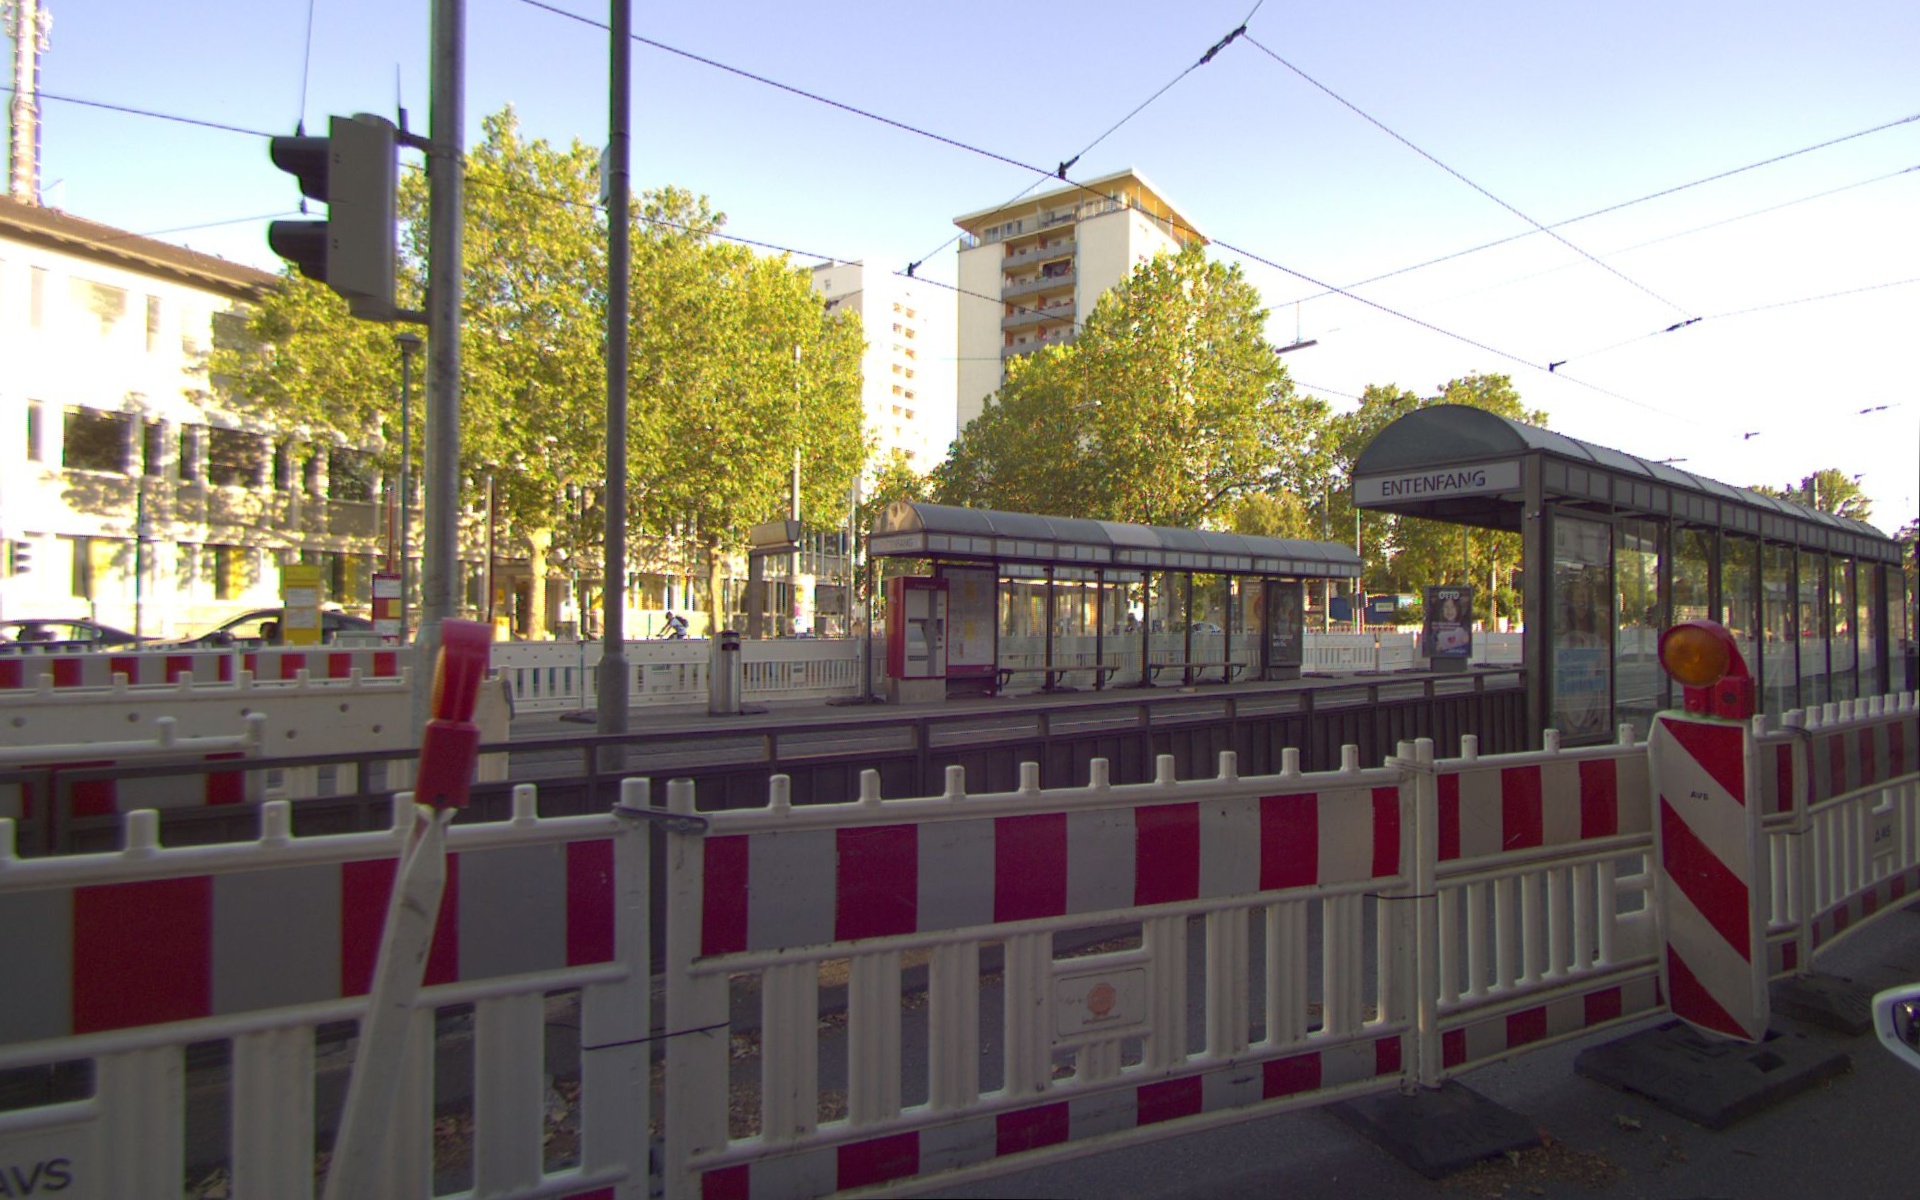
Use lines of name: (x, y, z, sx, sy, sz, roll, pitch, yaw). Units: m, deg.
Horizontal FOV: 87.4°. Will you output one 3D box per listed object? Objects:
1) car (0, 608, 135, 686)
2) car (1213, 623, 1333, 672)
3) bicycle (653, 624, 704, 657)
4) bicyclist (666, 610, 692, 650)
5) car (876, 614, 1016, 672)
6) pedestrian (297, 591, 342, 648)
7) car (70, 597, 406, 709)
car: (-18.862, 0.893, 19.400, 4.502, 1.467, 1.976, 0, -1, -41)
car: (11.867, 1.746, 37.978, 4.643, 1.676, 1.935, 0, -1, -35)
bicycle: (-8.551, 1.233, 30.543, 1.450, 0.980, 0.407, 1, -1, -40)
bicyclist: (-8.552, 0.910, 30.542, 0.657, 1.189, 0.407, 1, -1, -40)
car: (-0.357, 1.184, 28.311, 3.741, 1.532, 1.645, 1, -1, -39)
pedestrian: (-20.161, 0.603, 31.617, 0.793, 1.751, 0.884, 0, -1, 27)
car: (-12.386, 0.854, 17.529, 4.545, 1.689, 1.880, 1, 0, -38)
